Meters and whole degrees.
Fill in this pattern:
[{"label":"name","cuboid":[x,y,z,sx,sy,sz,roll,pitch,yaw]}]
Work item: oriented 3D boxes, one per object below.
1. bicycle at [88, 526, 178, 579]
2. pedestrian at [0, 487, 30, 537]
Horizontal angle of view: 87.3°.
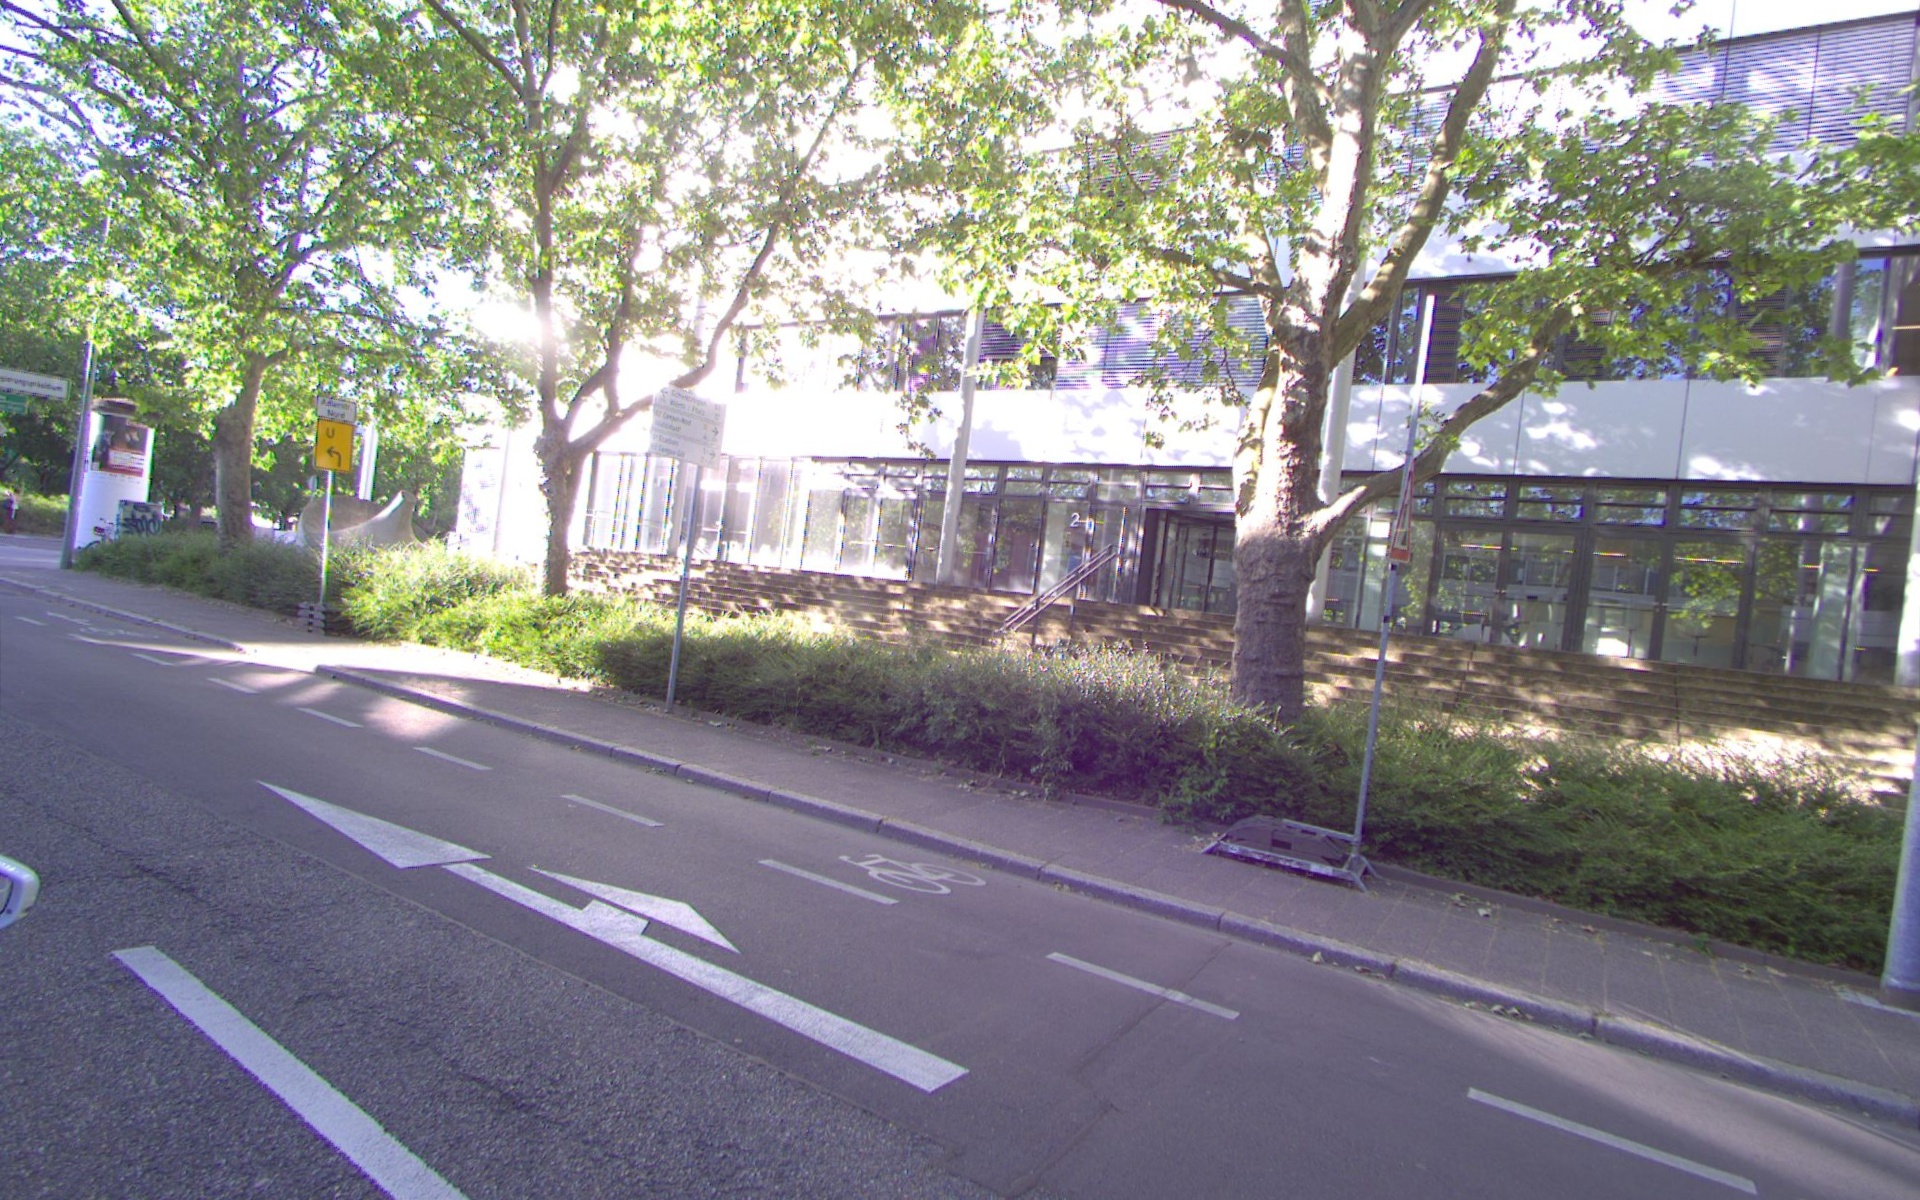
[{"label":"bicycle","cuboid":[-19.036,-1.075,23.174,0.295,0.991,1.484,6,-2,37]},{"label":"pedestrian","cuboid":[-36.171,-3.343,38.411,0.672,1.793,0.613,8,-1,-29]}]
